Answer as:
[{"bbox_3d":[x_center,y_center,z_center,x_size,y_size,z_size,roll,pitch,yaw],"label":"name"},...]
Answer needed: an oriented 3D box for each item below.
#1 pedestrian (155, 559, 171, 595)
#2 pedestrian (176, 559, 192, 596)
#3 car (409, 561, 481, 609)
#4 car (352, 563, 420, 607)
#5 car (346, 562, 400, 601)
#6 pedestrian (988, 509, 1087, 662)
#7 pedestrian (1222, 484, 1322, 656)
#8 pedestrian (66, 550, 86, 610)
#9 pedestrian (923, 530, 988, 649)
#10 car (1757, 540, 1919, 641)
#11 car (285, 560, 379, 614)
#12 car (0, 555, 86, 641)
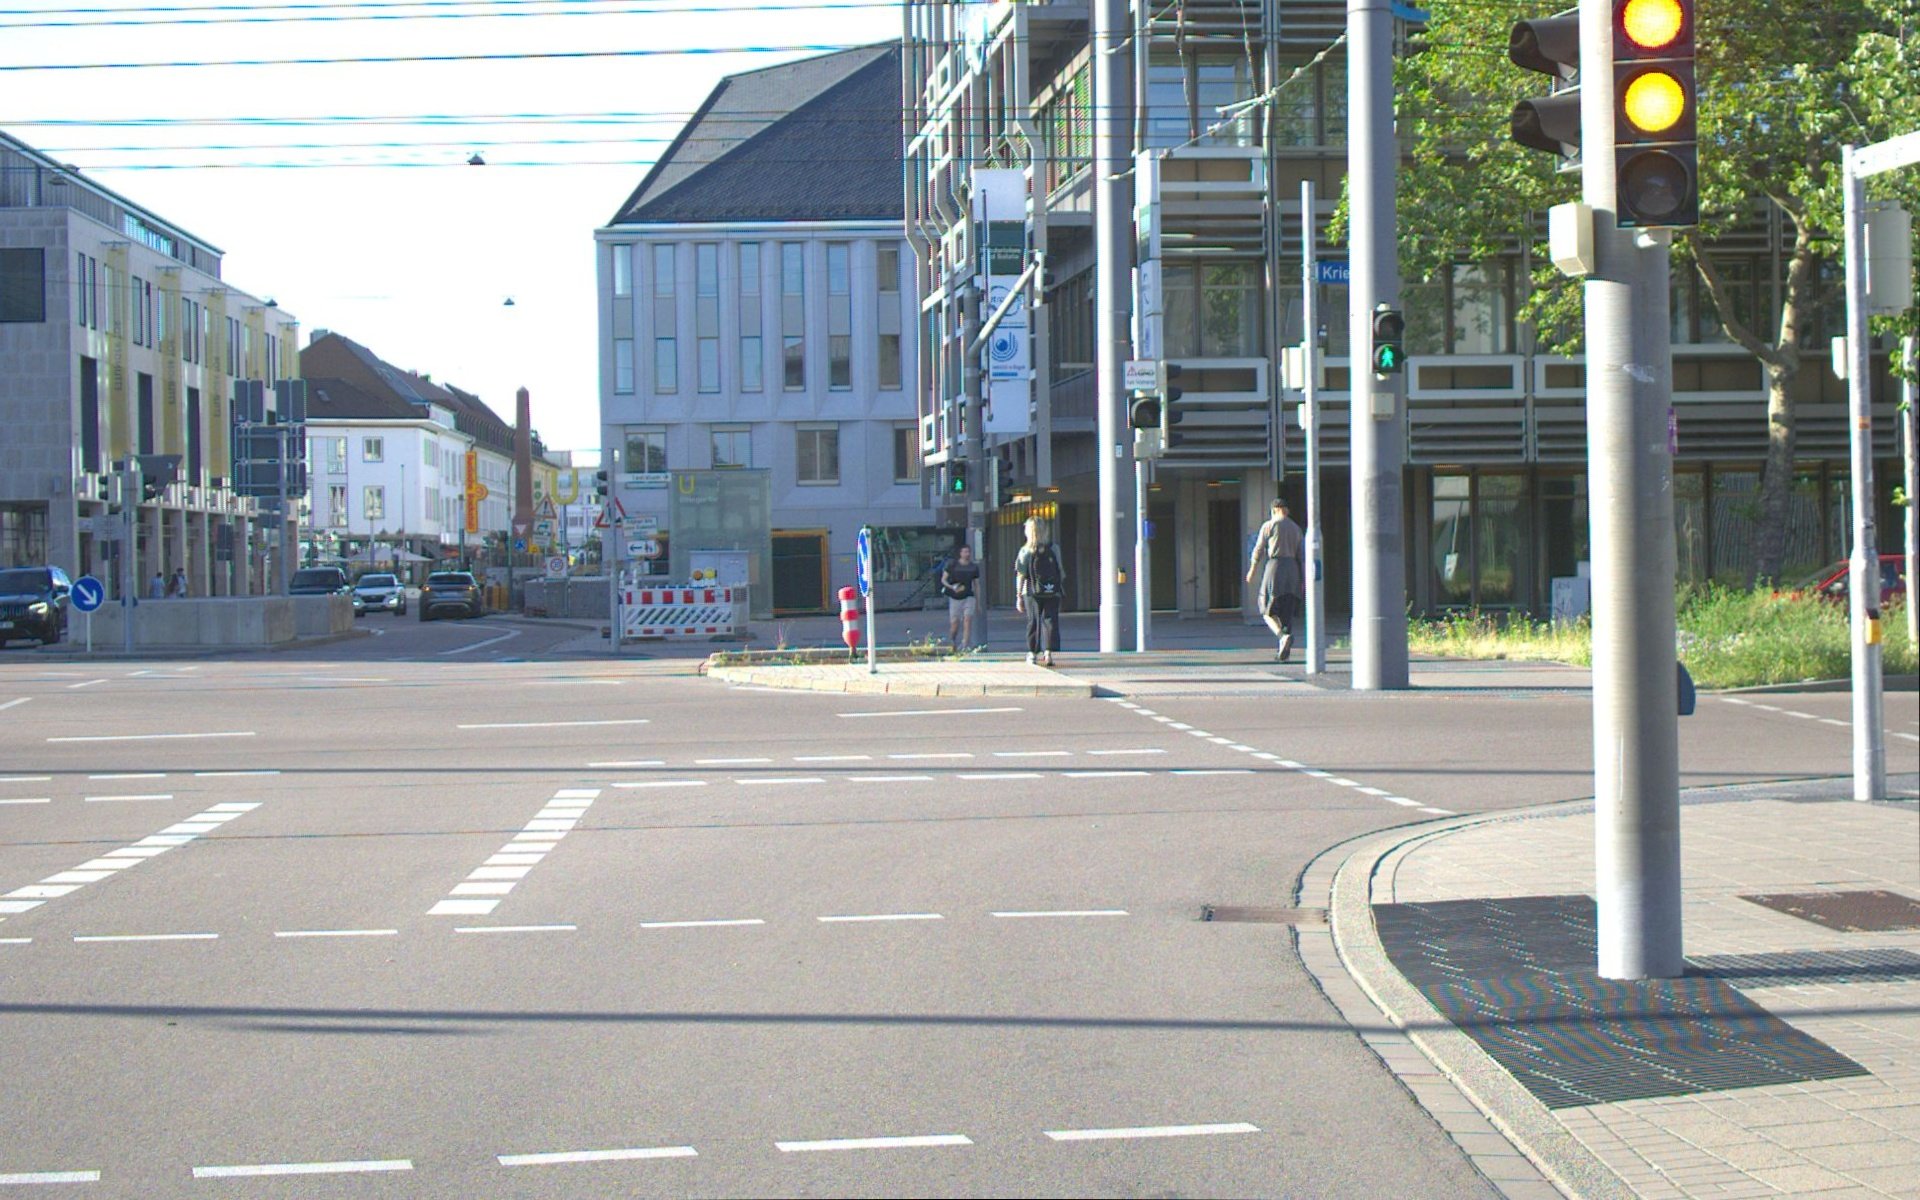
[{"bbox_3d":[-29.938,-0.877,129.102,0.488,1.352,0.564,1,0,-6],"label":"pedestrian"},{"bbox_3d":[-28.529,-0.831,126.382,0.488,1.352,0.564,1,0,-6],"label":"pedestrian"},{"bbox_3d":[-16.202,-0.468,108.307,1.936,1.445,4.263,-1,0,-4],"label":"car"},{"bbox_3d":[-22.607,-0.587,135.529,2.174,1.686,5.616,-1,0,-5],"label":"car"},{"bbox_3d":[-29.517,-0.920,172.926,2.174,1.866,5.616,-1,0,-4],"label":"car"},{"bbox_3d":[0.796,-0.161,35.717,0.895,1.544,0.924,-1,2,-7],"label":"pedestrian"},{"bbox_3d":[3.200,-0.312,35.301,0.855,1.738,0.739,-1,1,-8],"label":"pedestrian"},{"bbox_3d":[-29.987,-0.672,116.581,0.616,2.007,0.478,1,0,-15],"label":"pedestrian"},{"bbox_3d":[-0.076,-0.172,55.721,1.012,1.904,1.051,-1,1,1],"label":"pedestrian"},{"bbox_3d":[14.838,-0.155,54.429,3.866,1.481,1.846,-1,-2,-8],"label":"car"},{"bbox_3d":[-20.590,-0.427,112.913,2.174,1.686,5.487,-1,0,-1],"label":"car"},{"bbox_3d":[-19.024,-0.053,69.518,1.937,1.672,4.295,-1,1,-5],"label":"car"}]
